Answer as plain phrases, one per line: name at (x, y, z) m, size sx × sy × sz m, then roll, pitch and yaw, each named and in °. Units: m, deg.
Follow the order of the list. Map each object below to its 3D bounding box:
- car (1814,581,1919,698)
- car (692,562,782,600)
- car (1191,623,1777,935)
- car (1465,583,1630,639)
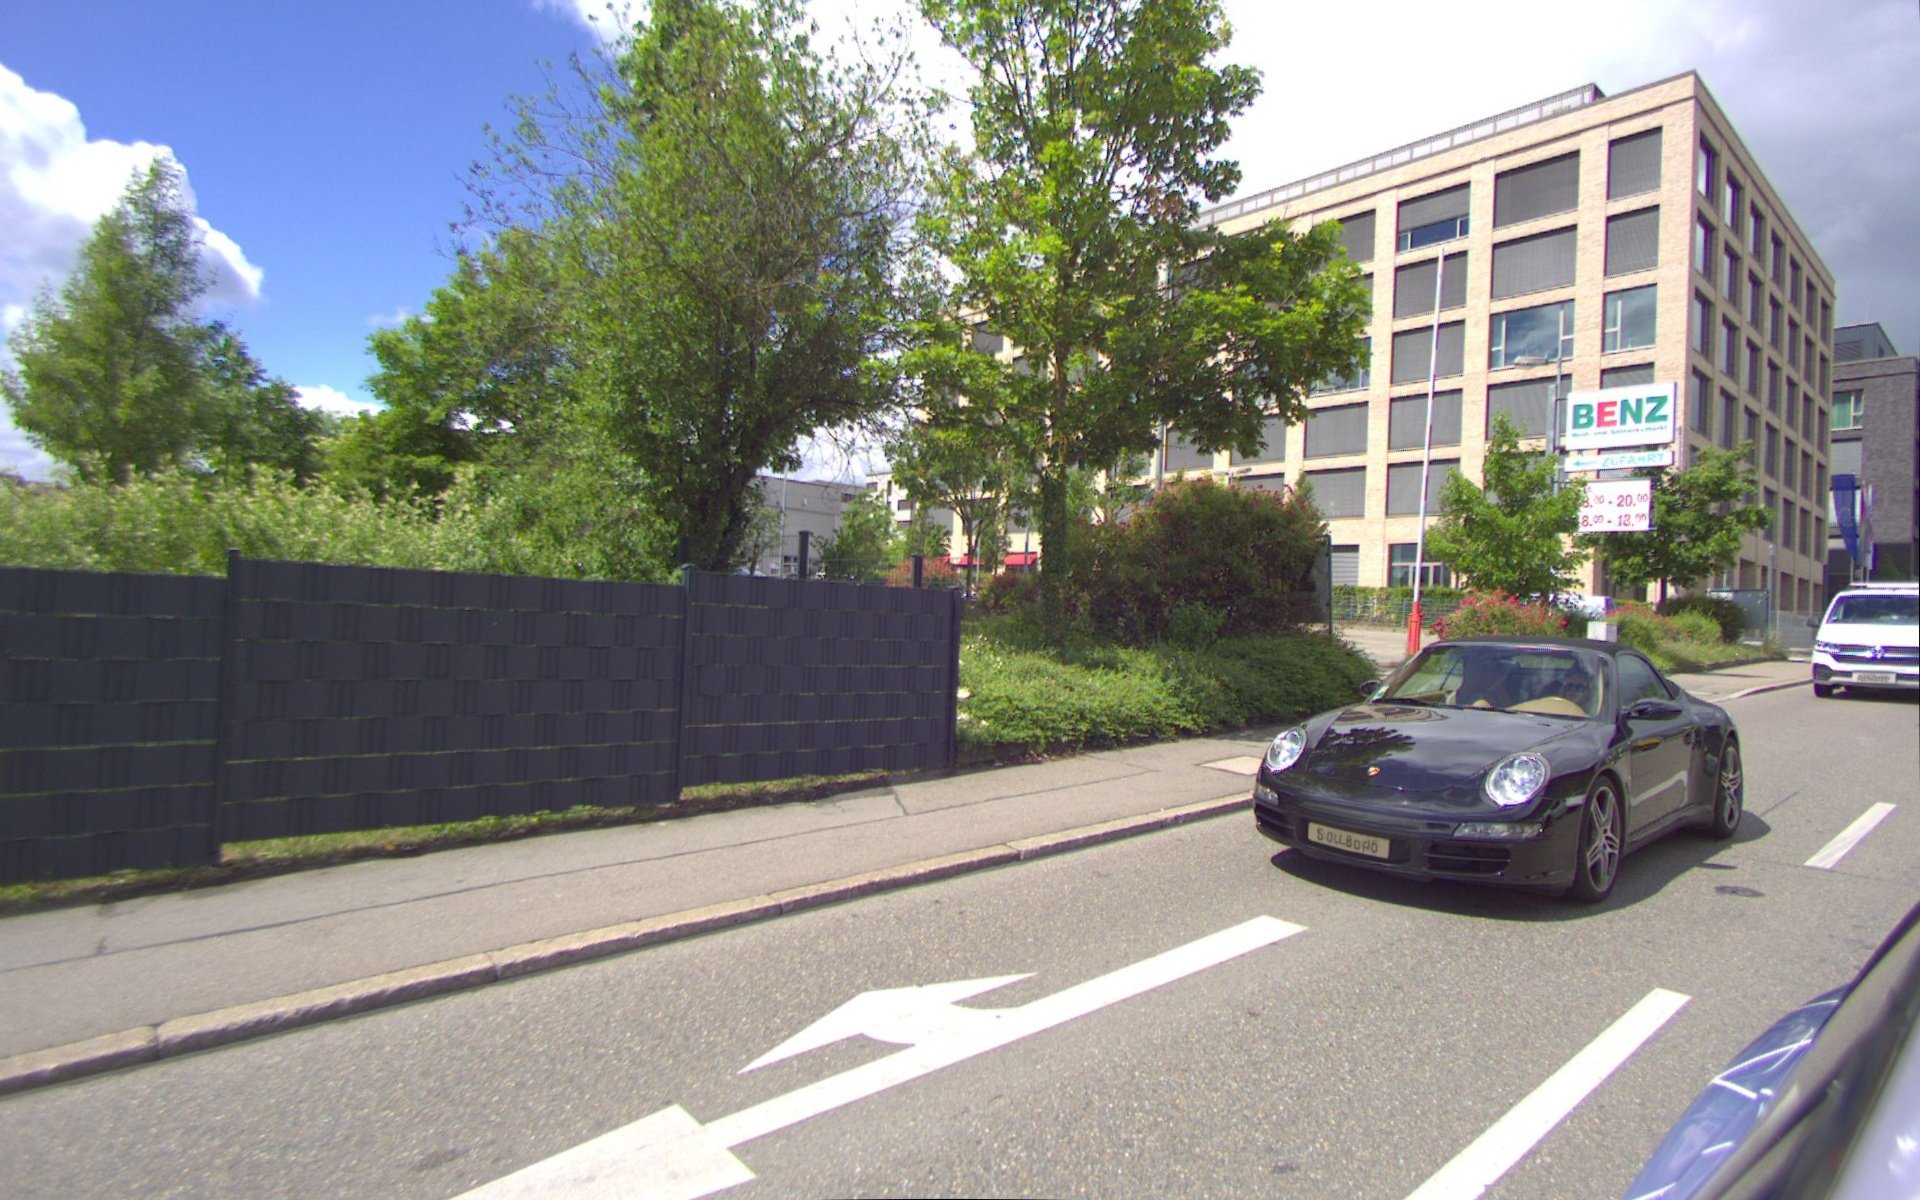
car at (16.952, 0.654, 18.028) m, size 4.563 × 1.874 × 1.962 m, roll 1°, pitch -1°, yaw -41°
car at (-9.756, -0.865, 44.036) m, size 1.872 × 1.527 × 4.525 m, roll 1°, pitch 1°, yaw -41°
car at (3.598, 0.826, 6.530) m, size 4.487 × 1.290 × 1.776 m, roll 1°, pitch -1°, yaw -40°
car at (18.571, 0.306, 32.126) m, size 1.707 × 1.596 × 4.211 m, roll 1°, pitch 1°, yaw -44°
